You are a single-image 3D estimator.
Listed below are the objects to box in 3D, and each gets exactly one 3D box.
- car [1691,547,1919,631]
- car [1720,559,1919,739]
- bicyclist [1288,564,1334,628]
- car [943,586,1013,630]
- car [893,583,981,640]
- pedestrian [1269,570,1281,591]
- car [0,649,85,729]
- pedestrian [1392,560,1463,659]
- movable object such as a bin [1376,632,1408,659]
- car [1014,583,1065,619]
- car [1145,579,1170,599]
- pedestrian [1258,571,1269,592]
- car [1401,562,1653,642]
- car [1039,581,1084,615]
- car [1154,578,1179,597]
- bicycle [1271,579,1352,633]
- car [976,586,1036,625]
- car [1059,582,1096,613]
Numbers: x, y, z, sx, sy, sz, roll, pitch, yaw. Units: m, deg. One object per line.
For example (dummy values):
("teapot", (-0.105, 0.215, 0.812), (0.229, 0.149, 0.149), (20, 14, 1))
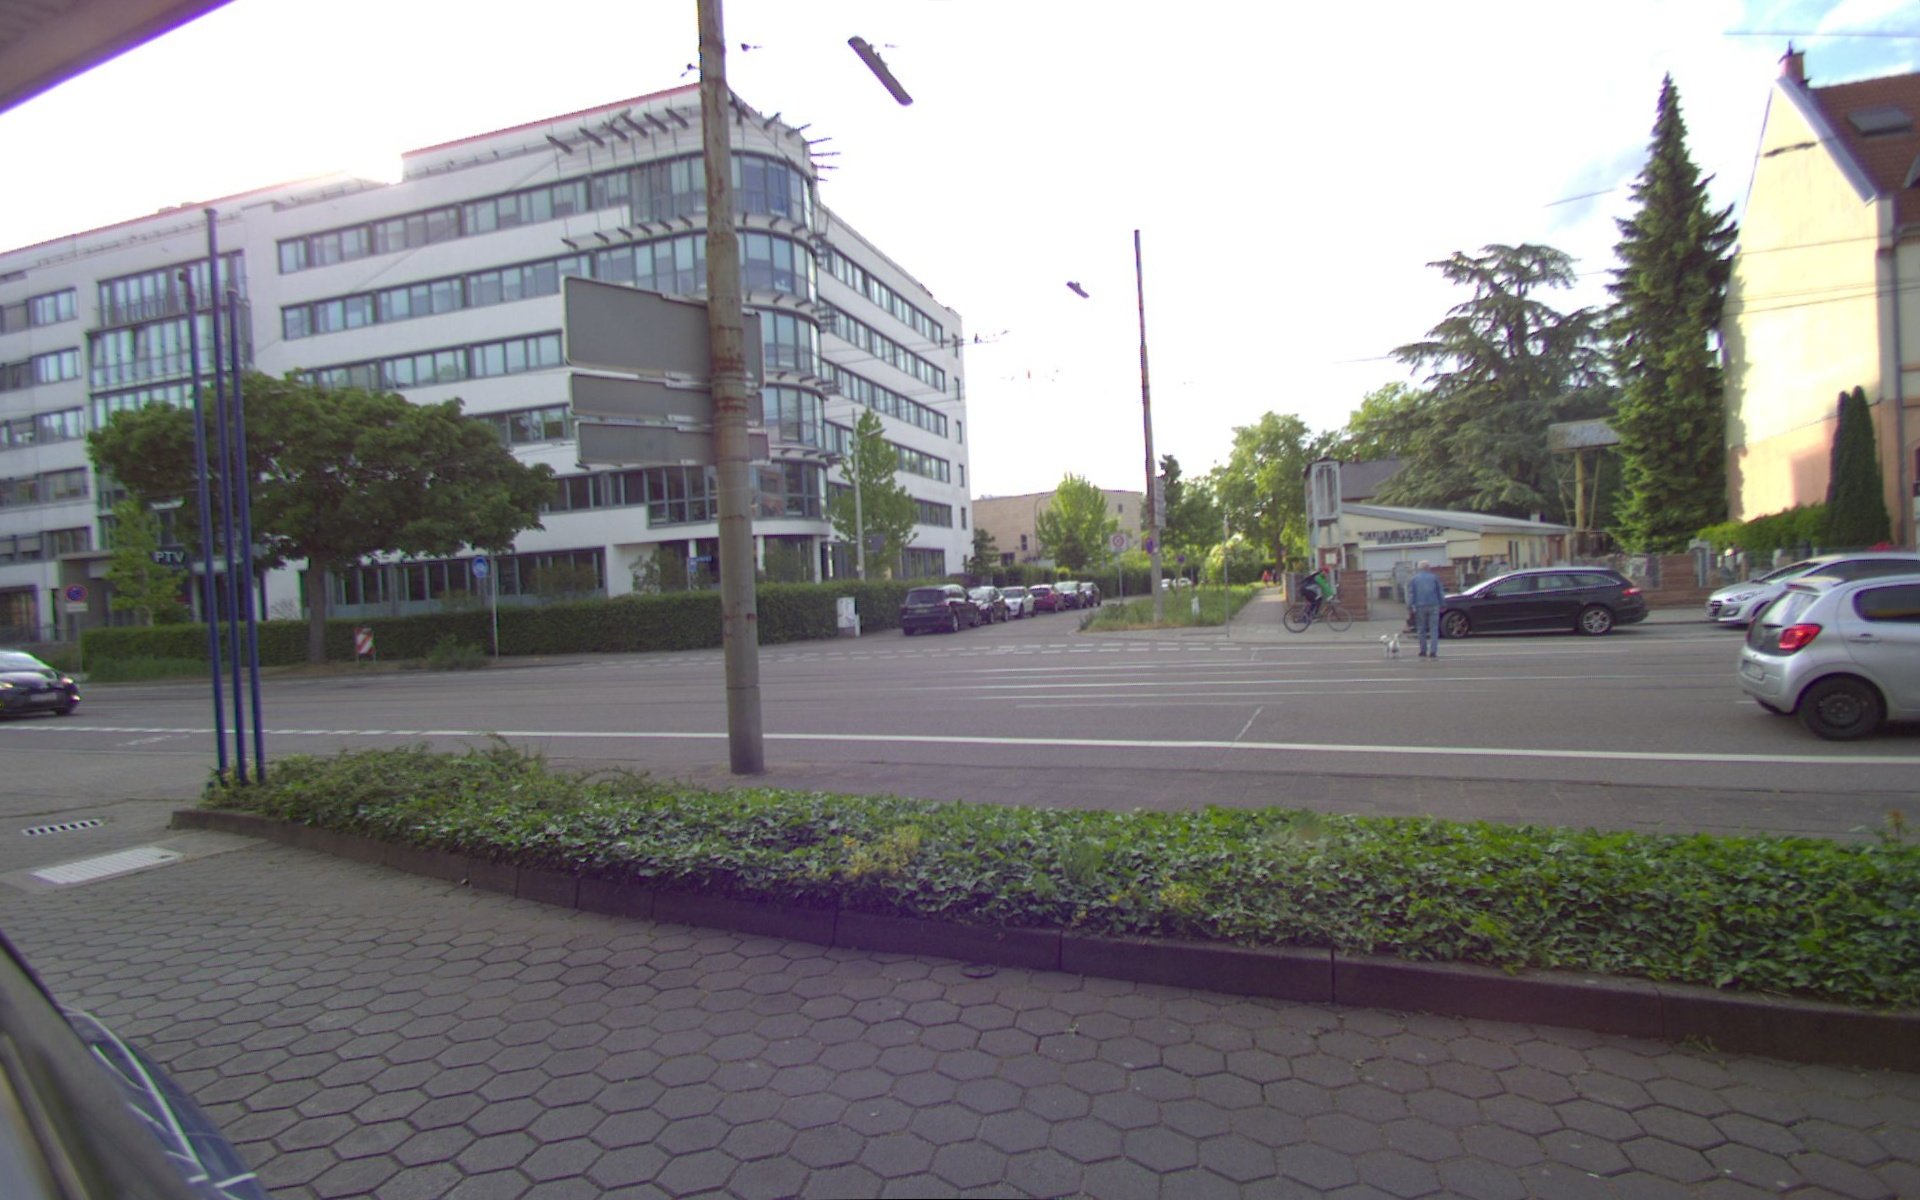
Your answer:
("car", (18.422, -0.249, 21.388), (4.424, 1.494, 1.713), (-3, 1, 21))
("car", (9.056, 0.369, 8.921), (3.407, 1.443, 1.677), (-3, 2, 25))
("bicyclist", (9.228, -0.108, 26.605), (1.022, 1.617, 0.859), (-2, 3, 24))
("car", (0.793, 0.286, 40.982), (1.929, 1.551, 4.274), (-3, 0, 13))
("car", (-0.726, 0.356, 35.422), (1.994, 1.704, 4.274), (-3, 1, 13))
("pedestrian", (28.944, -1.753, 92.971), (0.899, 1.865, 0.942), (-3, -1, 20))
("car", (-20.862, 1.913, 21.638), (3.786, 1.483, 1.678), (-3, 1, 22))
("pedestrian", (8.281, 0.155, 17.913), (1.000, 1.680, 0.961), (-2, 1, 31))
("movable object such as a bin", (7.772, 0.811, 18.218), (0.477, 0.424, 0.675), (-3, 1, 20))
("car", (4.174, 0.018, 52.498), (1.929, 1.650, 4.274), (-3, 0, 13))
("car", (19.696, -1.091, 100.799), (1.849, 1.748, 4.247), (-3, 1, 19))
("pedestrian", (27.962, -1.694, 93.224), (0.899, 1.865, 0.942), (-3, -1, 20))
("car", (12.911, 0.051, 23.449), (4.742, 1.511, 2.001), (-3, 1, 21))
("car", (5.834, -0.155, 57.727), (1.929, 1.748, 4.512), (-3, 0, 13))
("car", (21.687, -1.342, 106.168), (1.849, 1.748, 4.246), (-3, 1, 19))
("bicycle", (9.239, 0.162, 26.624), (1.908, 1.320, 0.859), (-2, 3, 25))
("car", (2.141, 0.209, 45.792), (1.929, 1.530, 4.274), (-3, 0, 13))
("car", (7.288, -0.165, 62.501), (1.731, 1.748, 4.030), (-3, 0, 13))
